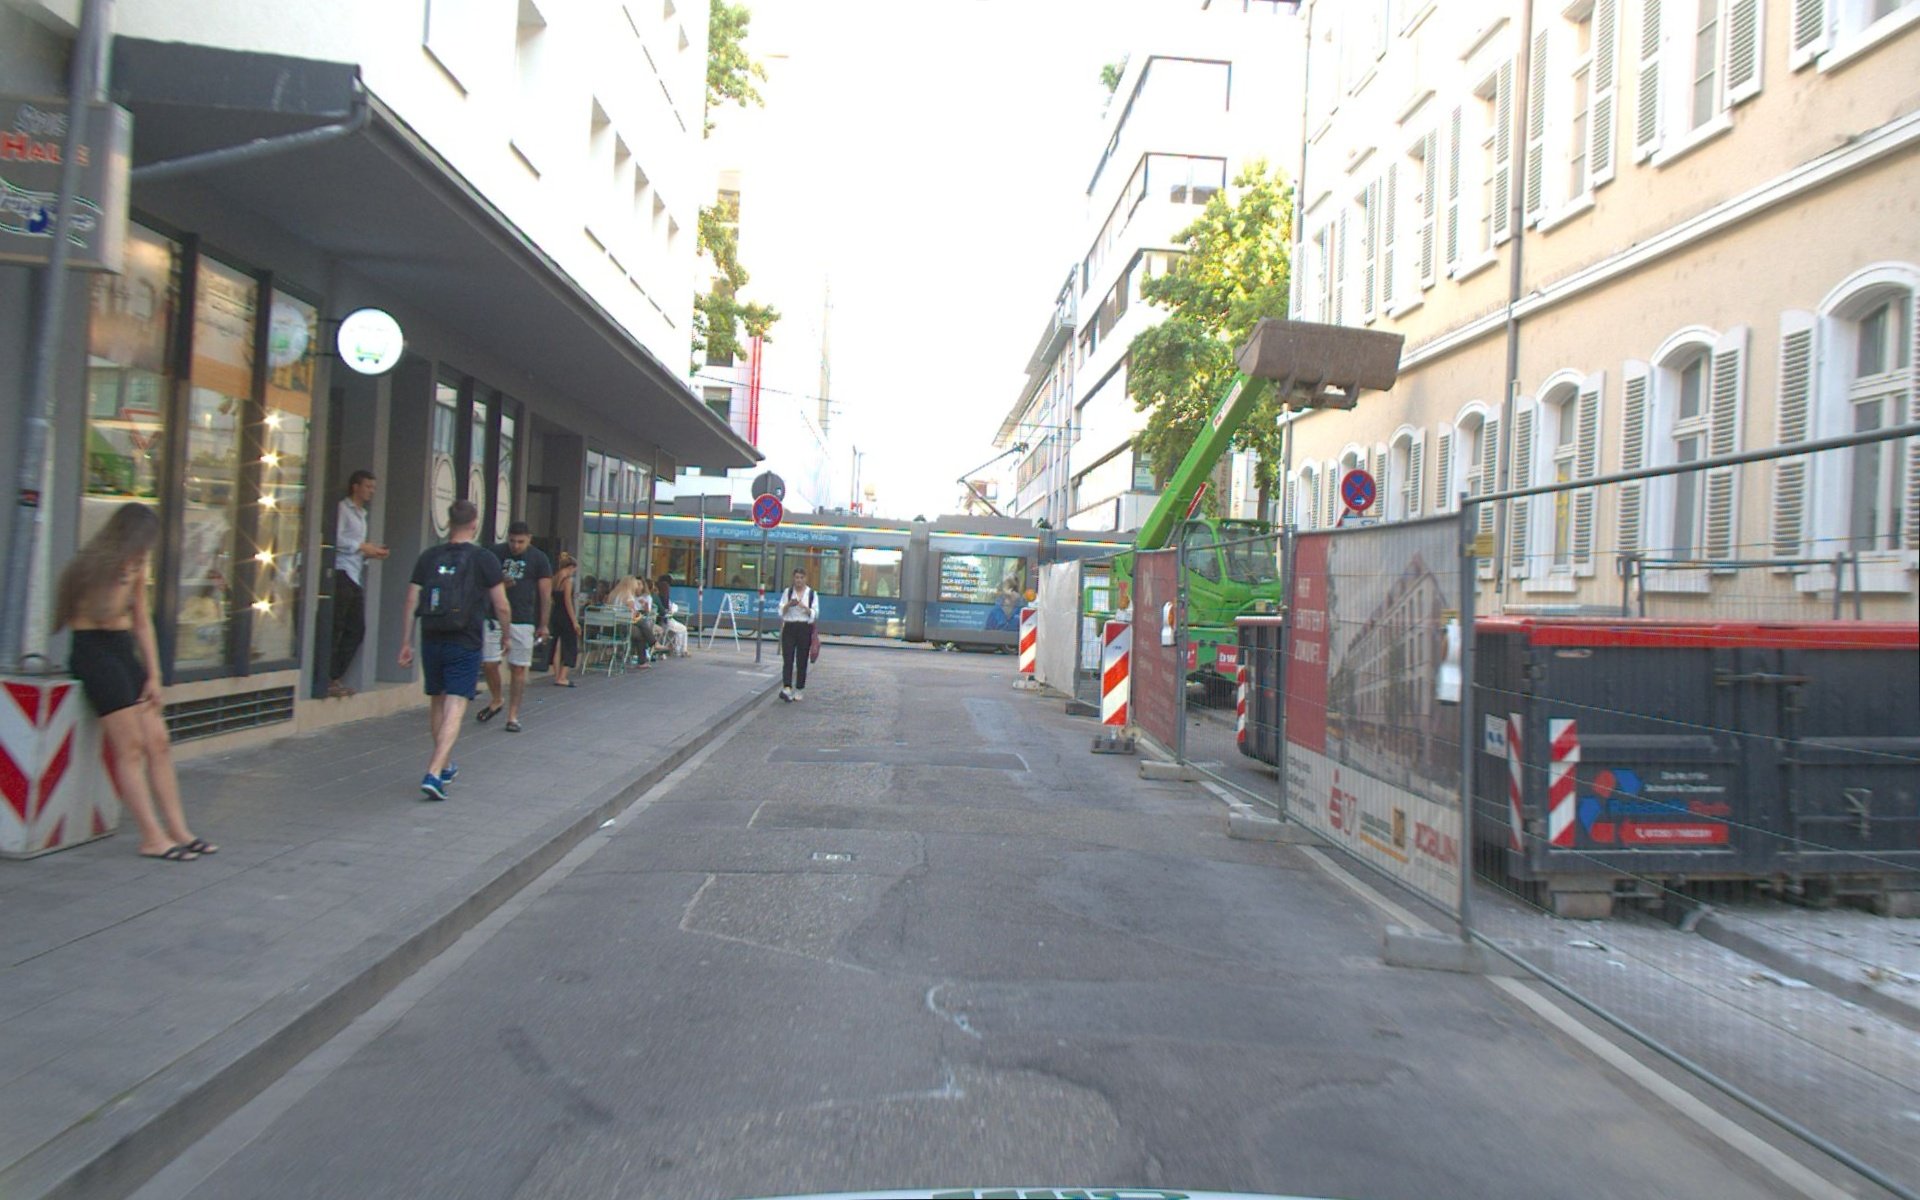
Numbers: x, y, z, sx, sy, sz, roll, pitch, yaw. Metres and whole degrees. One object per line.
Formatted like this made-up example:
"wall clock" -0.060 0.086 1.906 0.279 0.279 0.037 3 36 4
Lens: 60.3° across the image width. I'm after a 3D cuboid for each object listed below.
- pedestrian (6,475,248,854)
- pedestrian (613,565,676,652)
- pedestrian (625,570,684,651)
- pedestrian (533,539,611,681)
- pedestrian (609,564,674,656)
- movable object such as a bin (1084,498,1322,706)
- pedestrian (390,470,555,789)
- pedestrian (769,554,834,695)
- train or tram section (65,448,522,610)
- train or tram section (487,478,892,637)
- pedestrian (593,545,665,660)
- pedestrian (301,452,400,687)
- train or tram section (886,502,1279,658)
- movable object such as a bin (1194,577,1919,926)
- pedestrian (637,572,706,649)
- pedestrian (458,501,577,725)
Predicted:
"pedestrian" -3.772 0.284 7.540 0.695 1.605 0.612 4 0 -5
"pedestrian" -4.898 0.132 25.704 0.690 1.261 0.778 6 0 1
"pedestrian" -4.899 0.161 26.569 0.690 1.216 0.691 6 0 1
"pedestrian" -4.564 0.110 19.429 0.649 1.596 0.633 4 0 -28
"pedestrian" -4.755 0.142 24.677 0.695 1.308 0.854 4 0 -26
"movable object such as a bin" 3.739 -0.001 26.756 2.583 2.922 5.561 2 0 -4
"pedestrian" -2.969 0.170 10.158 0.700 1.842 0.932 2 0 -2
"pedestrian" -2.031 0.308 21.285 0.741 1.770 0.784 1 0 -1
"train or tram section" -17.314 -1.780 43.569 10.592 3.585 3.012 3 -1 -2
"train or tram section" -6.977 -1.072 44.007 10.160 3.585 3.016 3 -1 -2
"pedestrian" -4.726 0.035 23.669 0.689 1.574 0.861 4 0 6
"pedestrian" -4.923 -0.246 13.385 0.533 1.842 0.613 2 0 -2
"train or tram section" 3.155 -0.510 44.482 10.130 3.585 3.025 3 0 -3
"movable object such as a bin" 3.865 0.744 12.169 2.833 1.693 7.290 2 1 -3
"pedestrian" -4.852 0.183 27.869 0.692 1.240 0.839 4 0 35
"pedestrian" -3.770 0.108 14.161 0.690 1.813 0.932 3 0 -2
